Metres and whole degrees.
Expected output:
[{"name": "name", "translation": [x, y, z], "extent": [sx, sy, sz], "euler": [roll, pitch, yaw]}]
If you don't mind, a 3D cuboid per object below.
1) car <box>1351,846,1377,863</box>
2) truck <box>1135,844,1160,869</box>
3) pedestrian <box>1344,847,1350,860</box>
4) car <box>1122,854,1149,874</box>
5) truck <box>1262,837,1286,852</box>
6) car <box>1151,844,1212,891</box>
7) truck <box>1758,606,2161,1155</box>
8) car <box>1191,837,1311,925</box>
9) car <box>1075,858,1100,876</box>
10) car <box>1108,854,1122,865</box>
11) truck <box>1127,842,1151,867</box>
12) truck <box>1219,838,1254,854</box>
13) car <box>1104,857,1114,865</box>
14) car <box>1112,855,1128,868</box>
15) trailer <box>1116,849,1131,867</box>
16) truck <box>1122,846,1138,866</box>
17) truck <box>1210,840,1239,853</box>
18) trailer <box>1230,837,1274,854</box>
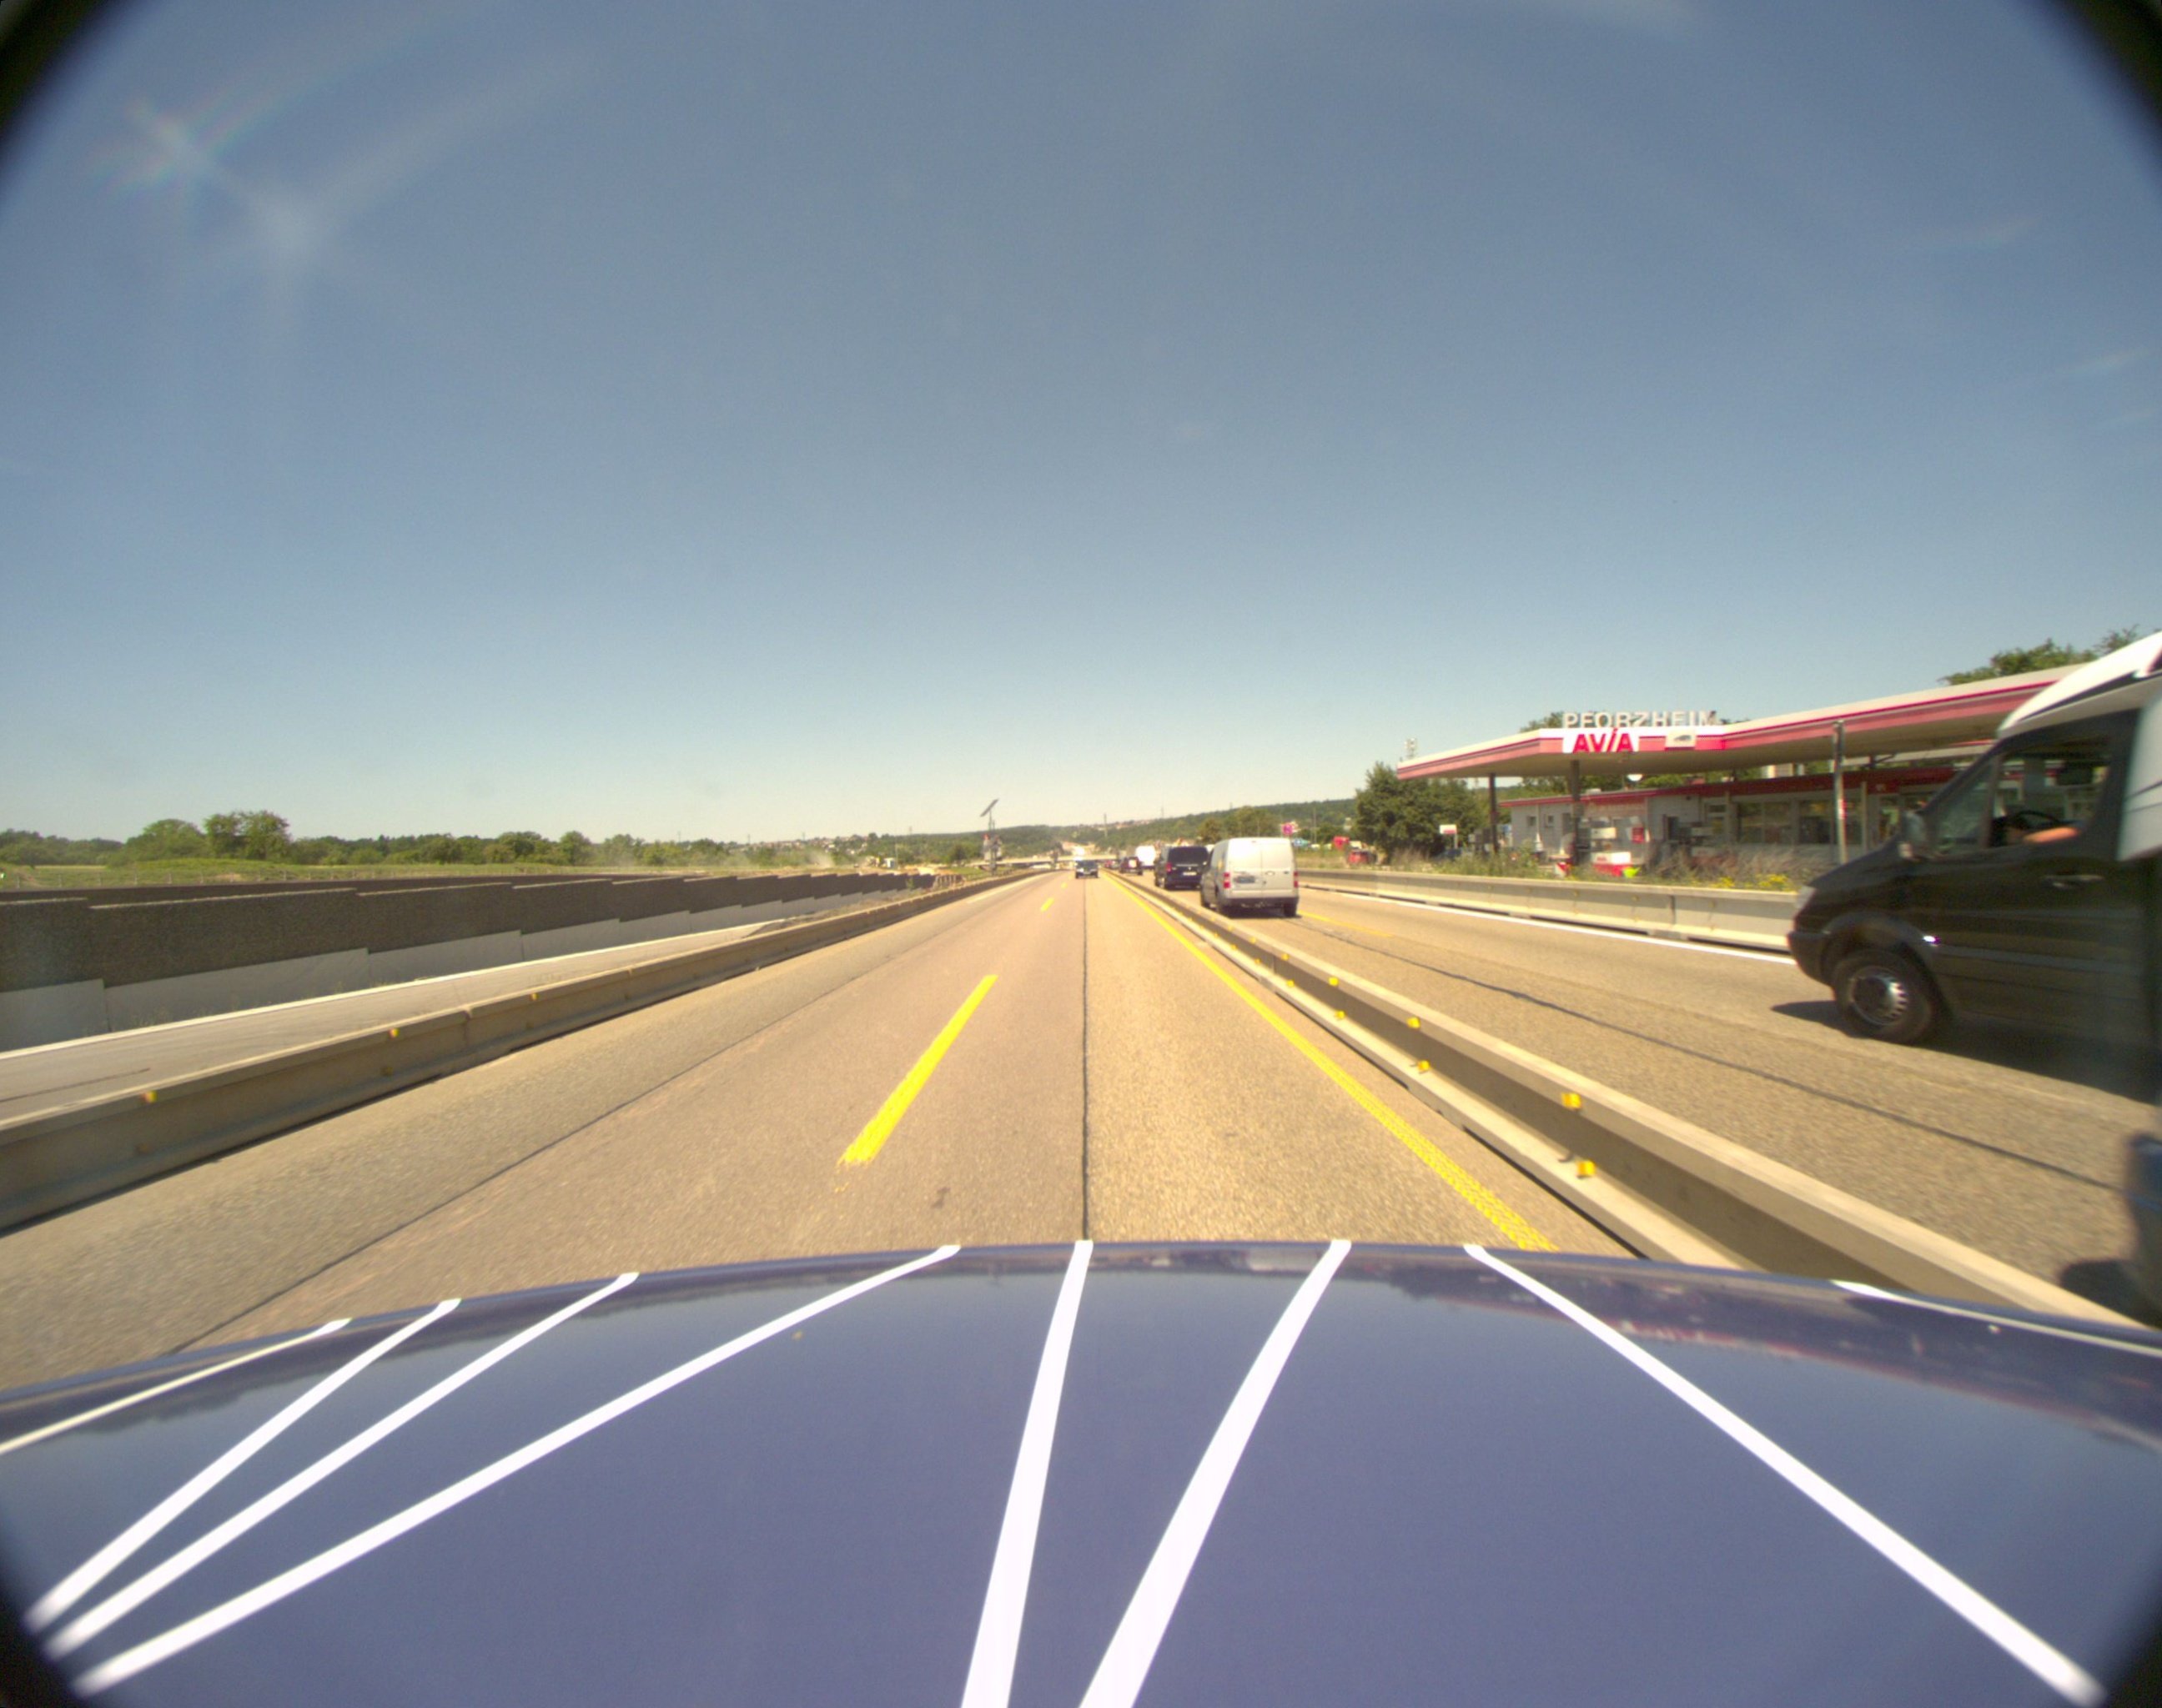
[{"name": "car", "translation": [26.763, 0.048, 71.736], "extent": [1.500, 1.324, 4.193], "euler": [-5, -1, 31]}, {"name": "truck", "translation": [7.594, 0.277, 87.702], "extent": [2.245, 2.770, 6.492], "euler": [-2, 0, 0]}, {"name": "pedestrian", "translation": [25.273, -0.034, 72.143], "extent": [0.474, 1.197, 0.586], "euler": [-2, 0, 15]}, {"name": "car", "translation": [4.529, 0.830, 63.482], "extent": [1.860, 1.594, 4.735], "euler": [-2, -1, 0]}, {"name": "truck", "translation": [53.767, -2.727, 211.717], "extent": [5.724, 3.596, 2.585], "euler": [-5, 0, 41]}, {"name": "car", "translation": [4.240, 0.553, 32.726], "extent": [1.912, 1.794, 5.082], "euler": [-2, 0, 0]}, {"name": "truck", "translation": [6.743, 0.116, 2.139], "extent": [2.486, 2.807, 8.129], "euler": [-1, 0, 1]}, {"name": "car", "translation": [3.990, 0.602, 18.641], "extent": [1.858, 1.829, 4.591], "euler": [-2, 0, 0]}, {"name": "car", "translation": [0.524, 0.969, 56.838], "extent": [1.810, 1.299, 4.001], "euler": [-1, -1, 1]}, {"name": "car", "translation": [5.406, 0.885, 120.685], "extent": [1.947, 1.649, 4.745], "euler": [-1, 0, 1]}, {"name": "truck", "translation": [7.937, 0.086, 104.778], "extent": [2.501, 3.272, 8.117], "euler": [-2, 0, 0]}, {"name": "truck", "translation": [48.263, -2.442, 235.715], "extent": [9.869, 4.195, 3.591], "euler": [-5, 0, 44]}, {"name": "car", "translation": [5.289, 1.330, 141.937], "extent": [1.685, 1.420, 4.203], "euler": [-2, 0, 3]}, {"name": "car", "translation": [5.047, 0.991, 98.132], "extent": [1.943, 1.601, 4.001], "euler": [-2, 0, 2]}, {"name": "trailer", "translation": [10.051, 0.988, 180.276], "extent": [3.014, 4.173, 13.853], "euler": [-2, -1, 1]}, {"name": "truck", "translation": [8.713, 0.323, 136.097], "extent": [2.395, 3.364, 7.716], "euler": [-2, 0, 2]}, {"name": "truck", "translation": [47.882, -2.598, 254.163], "extent": [9.135, 3.521, 2.696], "euler": [-6, 0, 44]}, {"name": "trailer", "translation": [48.635, -2.347, 216.676], "extent": [12.721, 3.762, 2.625], "euler": [-6, 0, 45]}]
